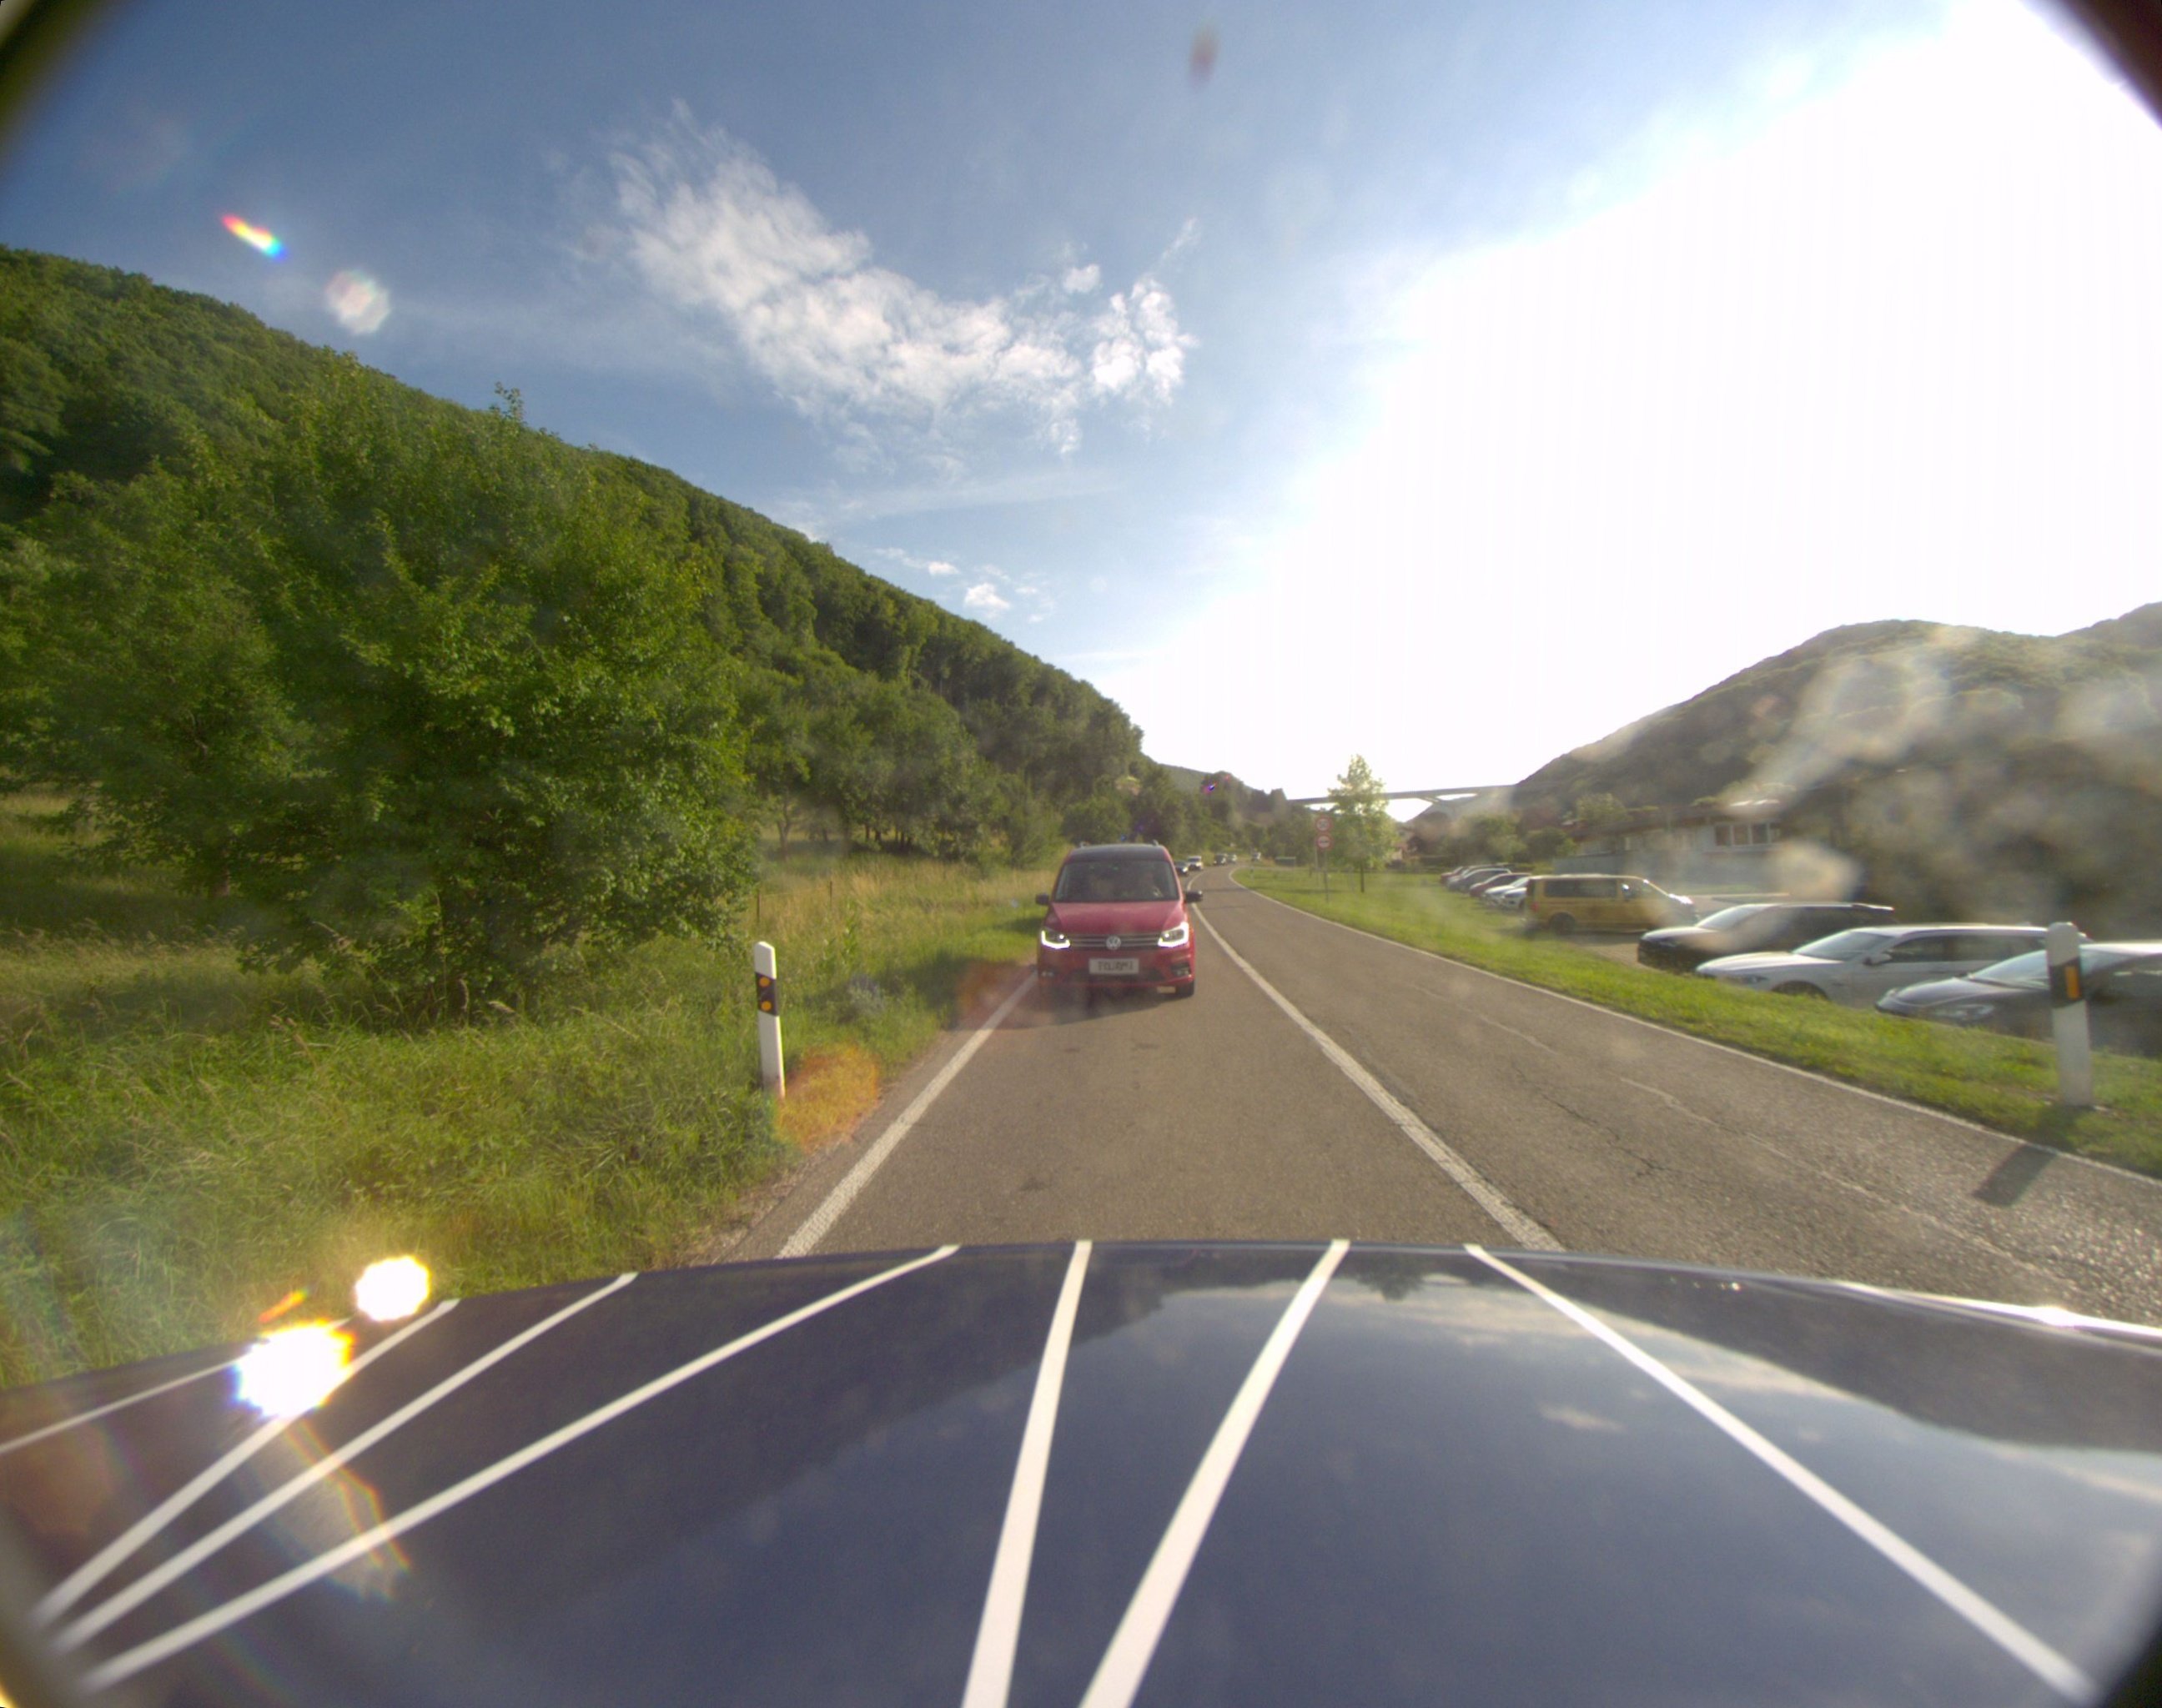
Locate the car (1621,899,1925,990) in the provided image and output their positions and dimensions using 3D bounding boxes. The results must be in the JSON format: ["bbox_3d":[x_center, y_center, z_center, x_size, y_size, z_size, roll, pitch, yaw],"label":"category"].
[{"bbox_3d":[14.275,1.870,16.017,4.288,1.628,1.916,-3,-1,18],"label":"car"}]

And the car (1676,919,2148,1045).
[{"bbox_3d":[12.506,1.872,11.901,4.644,1.488,1.916,-1,0,18],"label":"car"}]

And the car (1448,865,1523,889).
[{"bbox_3d":[28.641,1.623,53.926,4.437,1.573,2.003,-2,-1,21],"label":"car"}]

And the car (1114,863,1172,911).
[{"bbox_3d":[2.121,1.071,26.229,1.798,1.464,4.285,-2,-1,4],"label":"car"}]

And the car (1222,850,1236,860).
[{"bbox_3d":[26.477,0.127,136.067,1.996,1.706,4.005,-2,-1,17],"label":"car"}]

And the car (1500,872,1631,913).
[{"bbox_3d":[21.033,1.648,33.224,4.544,1.691,2.003,-1,0,23],"label":"car"}]

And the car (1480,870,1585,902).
[{"bbox_3d":[23.468,1.651,39.657,4.436,1.573,2.003,-1,0,21],"label":"car"}]

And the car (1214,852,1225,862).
[{"bbox_3d":[22.089,0.483,121.281,1.677,1.637,3.349,-2,-1,11],"label":"car"}]

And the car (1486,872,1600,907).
[{"bbox_3d":[22.090,1.675,36.571,4.436,1.577,2.003,-1,0,23],"label":"car"}]

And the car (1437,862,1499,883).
[{"bbox_3d":[32.243,1.532,63.385,4.436,1.709,2.003,-1,0,21],"label":"car"}]

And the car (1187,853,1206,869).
[{"bbox_3d":[13.782,0.830,90.528,1.797,1.725,4.288,-2,-1,14],"label":"car"}]

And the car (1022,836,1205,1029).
[{"bbox_3d":[0.458,0.806,9.613,1.746,1.848,4.350,-2,-1,4],"label":"car"}]

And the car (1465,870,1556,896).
[{"bbox_3d":[25.023,1.671,44.457,4.436,1.443,2.003,-1,0,23],"label":"car"}]

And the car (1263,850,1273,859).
[{"bbox_3d":[43.276,0.063,176.160,1.909,1.893,4.005,-2,1,19],"label":"car"}]

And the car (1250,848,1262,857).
[{"bbox_3d":[37.749,-0.278,164.194,1.908,1.893,4.006,-2,1,21],"label":"car"}]

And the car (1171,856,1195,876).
[{"bbox_3d":[9.152,1.044,67.792,1.911,1.675,4.004,-1,-1,10],"label":"car"}]

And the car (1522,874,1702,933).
[{"bbox_3d":[17.633,1.613,25.535,4.652,1.802,2.003,-1,0,23],"label":"car"}]

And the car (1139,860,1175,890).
[{"bbox_3d":[4.096,1.121,41.533,1.798,1.464,4.285,-2,-1,4],"label":"car"}]

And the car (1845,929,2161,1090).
[{"bbox_3d":[12.110,1.768,8.938,3.991,1.526,1.836,-1,0,22],"label":"car"}]

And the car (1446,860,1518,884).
[{"bbox_3d":[30.677,1.398,58.287,4.664,1.752,2.003,-1,0,21],"label":"car"}]
